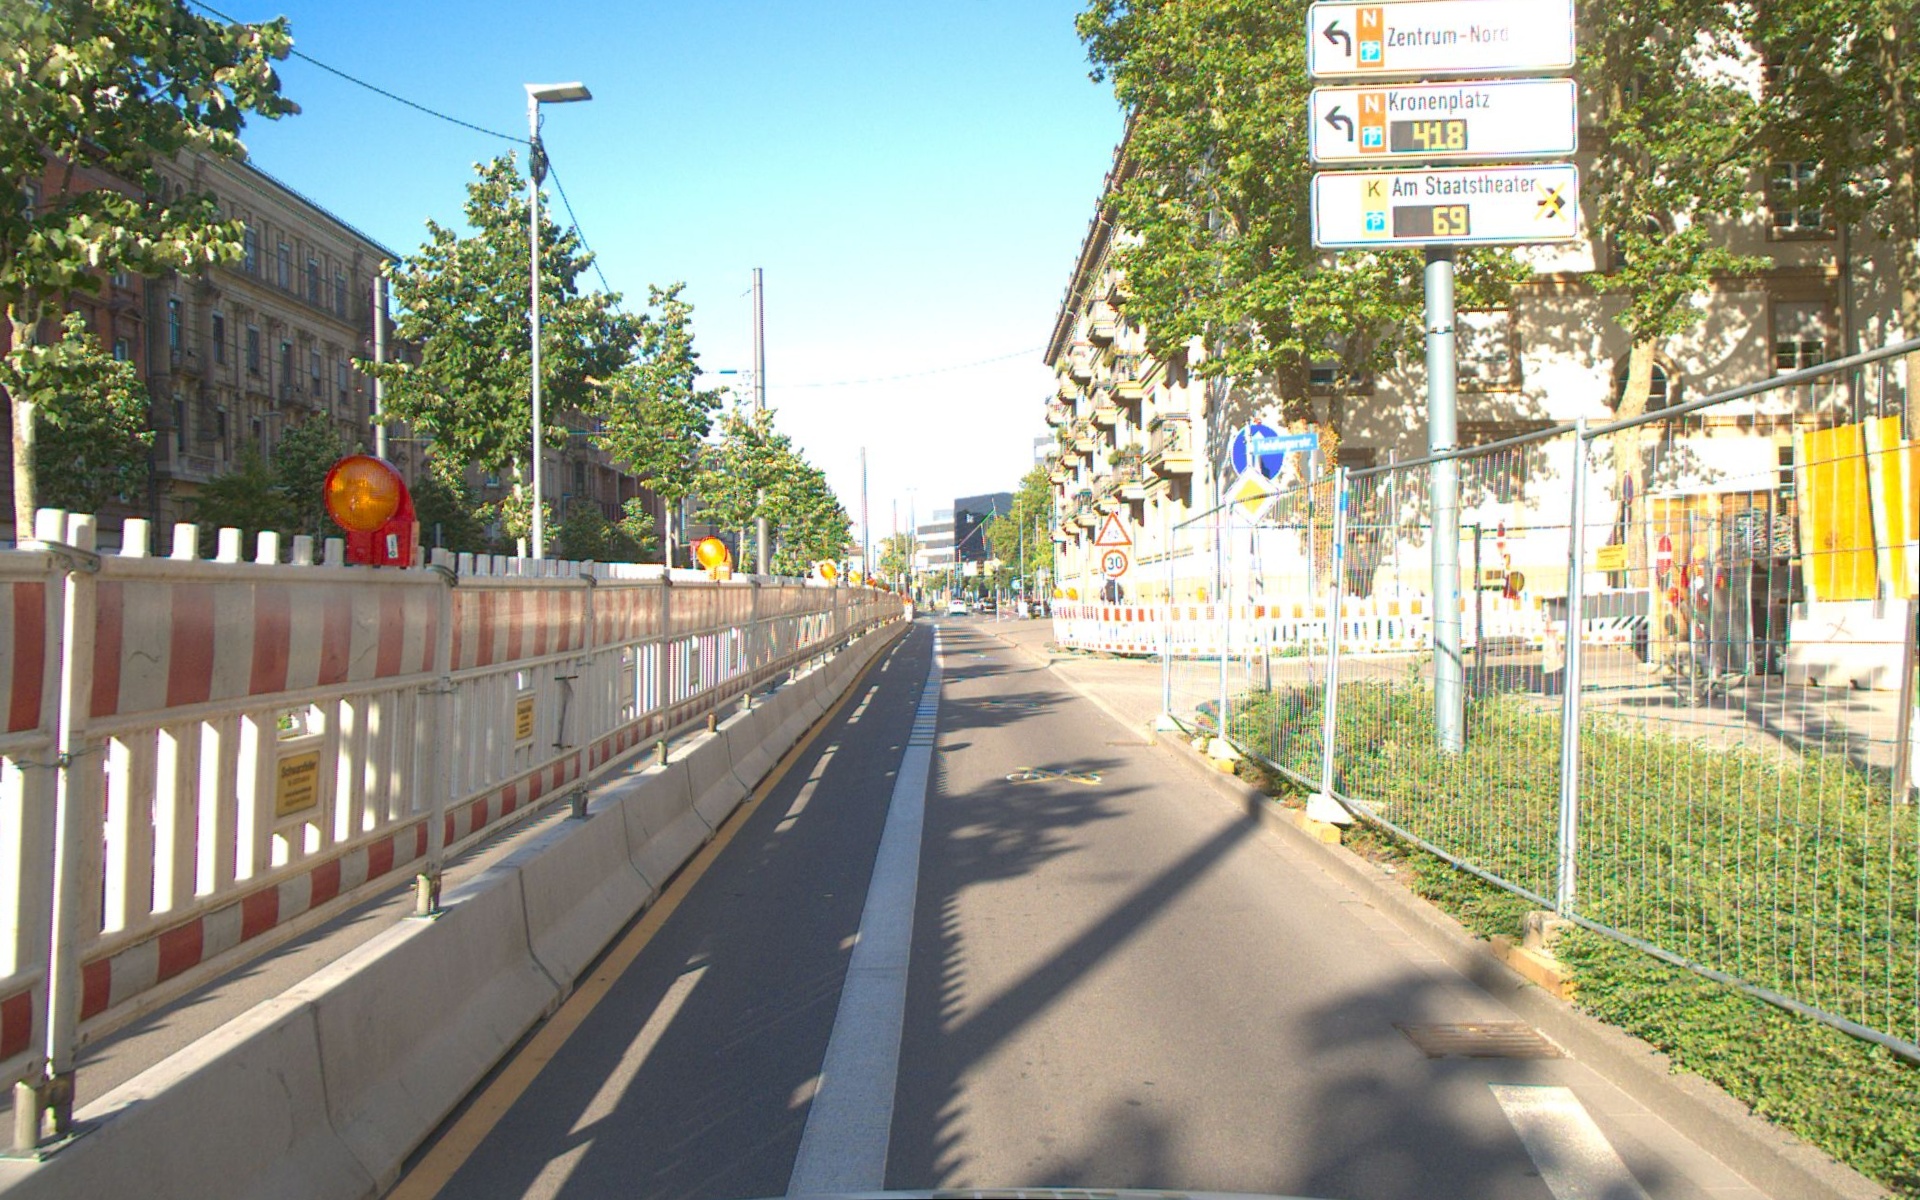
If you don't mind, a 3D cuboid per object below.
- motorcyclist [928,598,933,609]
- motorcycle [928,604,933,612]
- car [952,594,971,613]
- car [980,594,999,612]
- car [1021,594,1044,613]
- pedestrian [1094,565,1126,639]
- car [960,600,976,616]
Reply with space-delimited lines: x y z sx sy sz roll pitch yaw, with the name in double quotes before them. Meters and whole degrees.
"motorcyclist" -3.482 0.404 194.145 0.618 1.285 0.605 -1 0 -1
"motorcycle" -3.466 0.922 194.073 0.618 0.912 1.620 -1 0 -1
"car" 0.129 0.346 166.835 1.845 1.875 3.667 -2 0 -1
"car" 3.071 0.299 174.215 1.845 1.875 3.667 -2 0 -1
"car" 6.381 0.276 145.355 1.844 1.617 3.668 -2 0 0
"pedestrian" 3.653 0.045 40.323 0.655 1.776 0.778 -1 0 -2
"car" 0.996 0.985 199.278 1.845 1.875 3.667 -2 0 -1
